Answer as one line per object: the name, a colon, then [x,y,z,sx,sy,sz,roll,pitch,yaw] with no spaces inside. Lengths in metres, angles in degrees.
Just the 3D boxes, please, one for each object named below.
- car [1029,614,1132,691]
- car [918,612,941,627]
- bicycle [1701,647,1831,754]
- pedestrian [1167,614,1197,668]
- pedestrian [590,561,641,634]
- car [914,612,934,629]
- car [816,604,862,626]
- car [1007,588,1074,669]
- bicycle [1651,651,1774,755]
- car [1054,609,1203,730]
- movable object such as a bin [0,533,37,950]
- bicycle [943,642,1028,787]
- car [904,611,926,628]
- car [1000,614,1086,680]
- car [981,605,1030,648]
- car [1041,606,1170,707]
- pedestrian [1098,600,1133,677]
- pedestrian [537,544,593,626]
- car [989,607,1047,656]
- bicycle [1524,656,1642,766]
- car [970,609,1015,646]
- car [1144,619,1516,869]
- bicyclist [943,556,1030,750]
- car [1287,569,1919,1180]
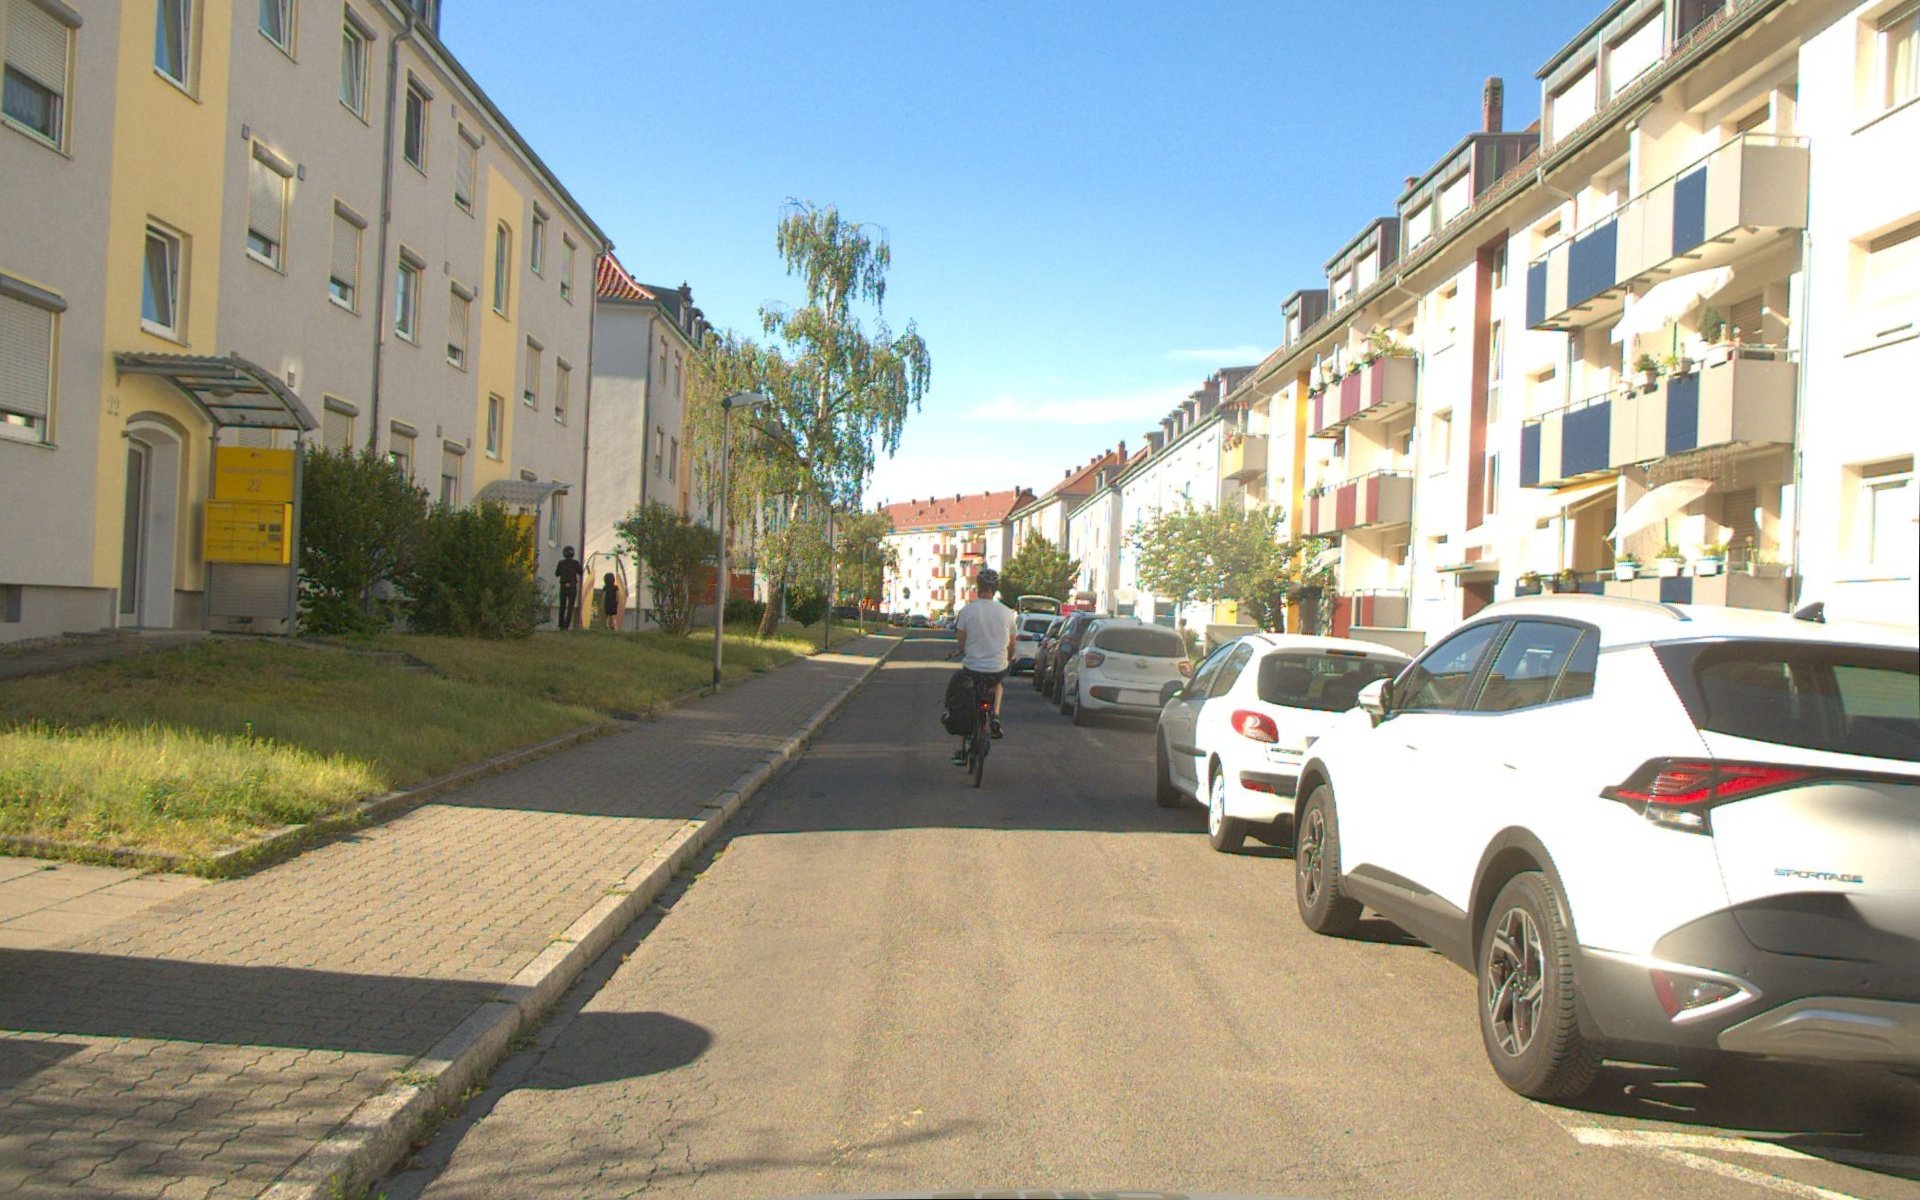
car: [2.482,1.069,34.857,1.798,1.460,3.751,2,-1,-1]
car: [-3.588,2.267,194.732,1.959,1.603,3.987,2,-1,-13]
bicycle: [9.287,1.134,19.135,0.547,1.123,1.829,2,-1,-1]
pedestrian: [7.145,1.318,53.147,0.698,1.707,0.792,1,-1,26]
pedestrian: [-7.670,-0.050,36.873,0.846,1.548,1.068,2,-1,-1]
car: [-3.526,2.030,162.161,1.722,1.603,3.899,2,0,-5]
car: [-10.643,1.324,146.171,3.907,1.832,1.999,2,-1,-2]
car: [2.299,0.806,48.076,1.586,2.181,3.999,2,-1,-1]
bicycle: [8.653,1.159,19.093,0.504,1.072,1.865,2,-1,-1]
car: [2.389,0.959,24.196,1.599,1.517,3.621,4,-1,-2]
movable object such as a bin: [-4.163,0.477,5.455,1.462,1.504,1.264,2,-1,-1]
bicycle: [0.203,0.971,14.576,0.647,1.147,1.765,3,-1,-1]
car: [-4.584,1.990,167.763,1.954,1.603,3.997,2,0,-4]
car: [2.069,1.157,42.231,1.856,1.522,4.091,2,-1,-1]
car: [1.826,1.085,68.153,1.769,1.632,4.403,2,-1,-1]
car: [2.481,0.951,29.141,1.798,1.585,3.999,2,-1,-1]
pedestrian: [4.260,1.045,45.341,0.775,2.049,1.082,2,-1,-1]
pedestrian: [-8.718,-0.315,36.538,0.951,1.745,0.946,2,-1,-1]
car: [1.974,1.082,57.362,1.769,1.577,3.999,2,-1,-1]
bicycle: [7.011,1.227,18.695,0.547,1.112,1.900,2,-1,-1]
car: [1.419,1.198,73.082,1.769,1.524,4.198,2,-1,-1]
car: [2.504,0.916,12.073,1.722,1.457,3.627,3,-1,-2]
bicyclist: [0.226,0.455,14.502,0.680,1.624,0.791,2,-1,-1]
car: [2.766,0.789,6.562,1.943,1.620,4.123,2,-1,-2]
